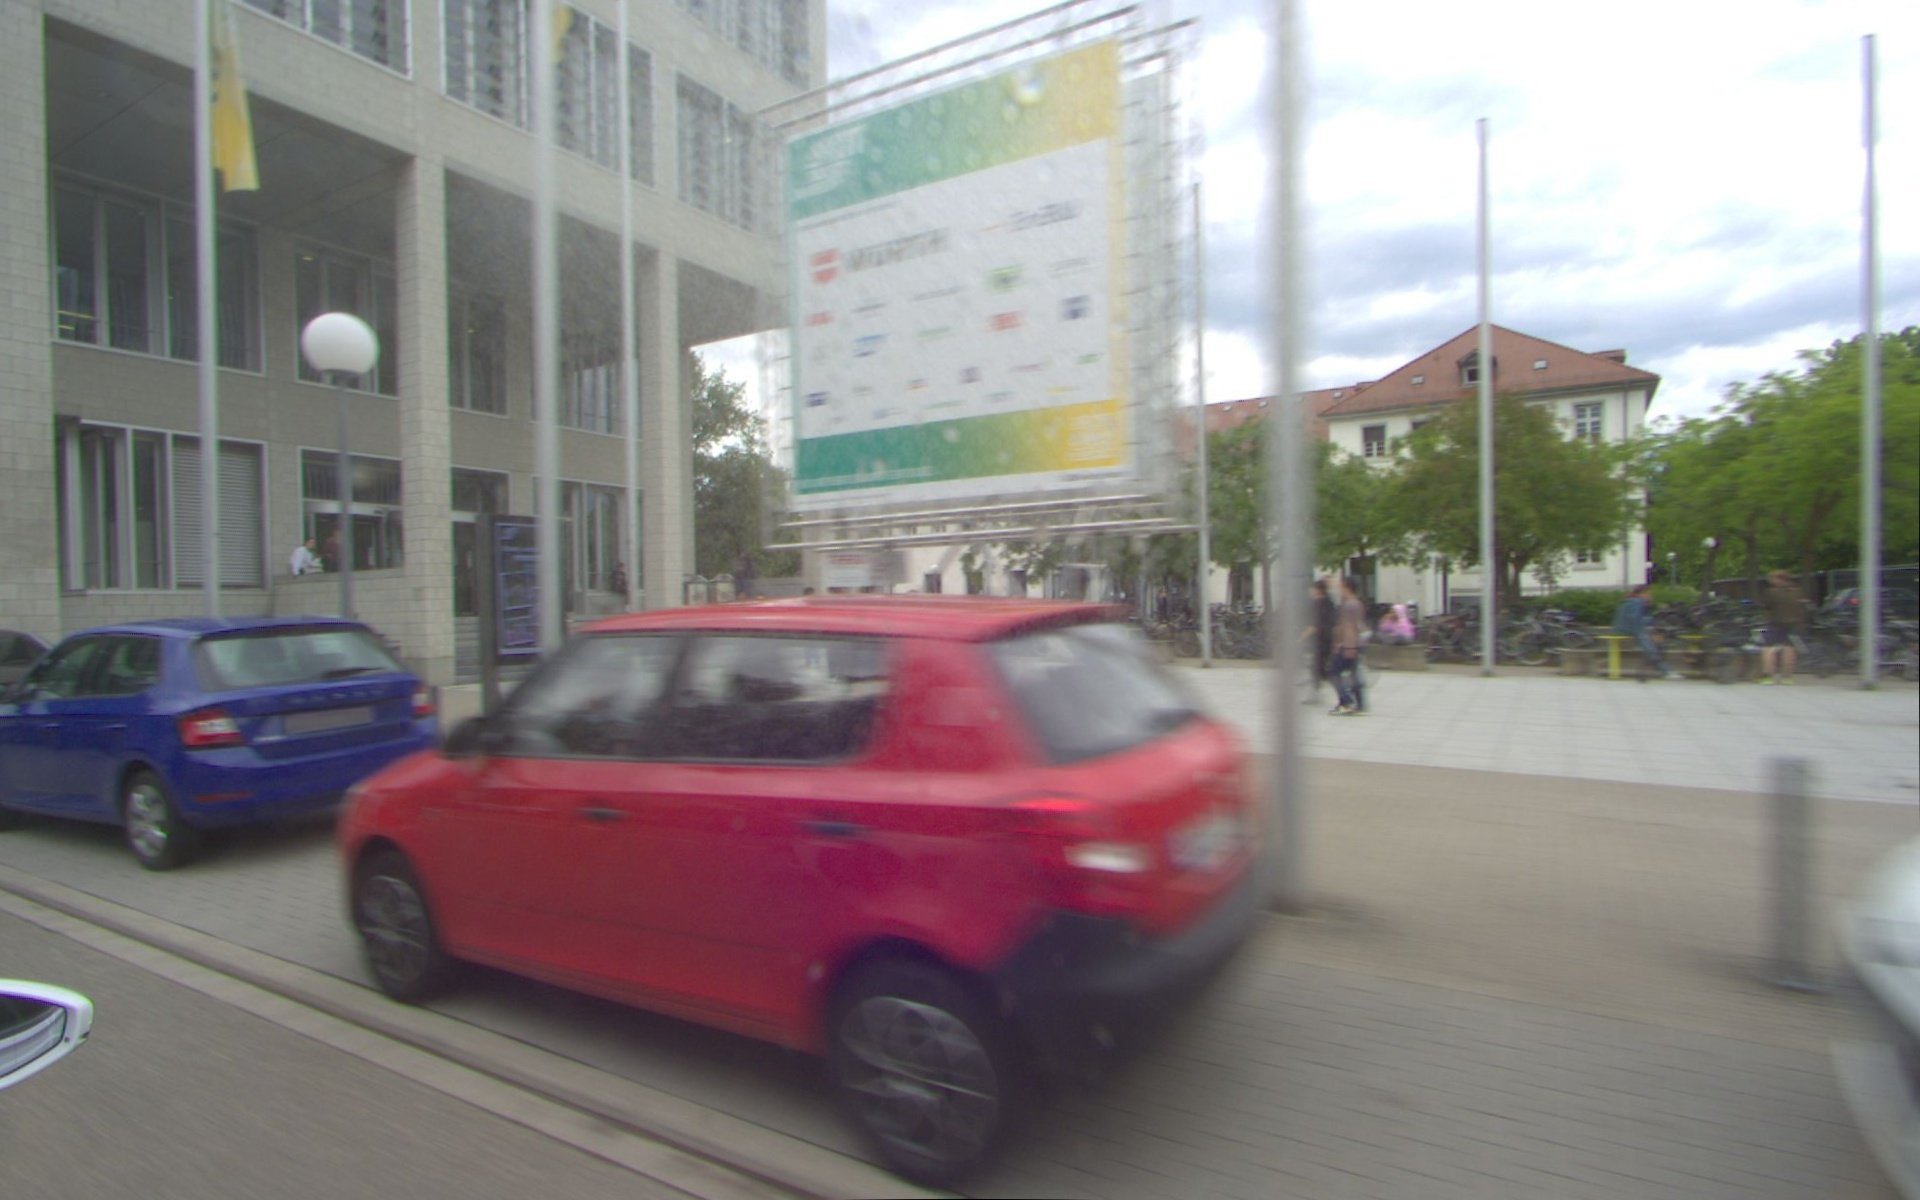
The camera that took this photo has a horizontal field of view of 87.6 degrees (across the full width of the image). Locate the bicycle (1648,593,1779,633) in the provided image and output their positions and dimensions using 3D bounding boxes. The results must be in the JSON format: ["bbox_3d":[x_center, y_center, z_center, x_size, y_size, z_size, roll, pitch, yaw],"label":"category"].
[{"bbox_3d":[24.484,0.431,32.646,3.352,1.185,1.048,-2,-1,37],"label":"bicycle"}]

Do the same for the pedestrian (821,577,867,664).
[{"bbox_3d":[-2.470,0.440,21.363,0.724,1.808,0.720,-1,0,18],"label":"pedestrian"}]

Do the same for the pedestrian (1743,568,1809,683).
[{"bbox_3d":[13.569,0.420,16.658,0.502,1.858,0.672,-1,0,-18],"label":"pedestrian"}]

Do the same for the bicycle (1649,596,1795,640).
[{"bbox_3d":[22.422,0.512,29.564,3.350,1.185,1.048,2,0,37],"label":"bicycle"}]

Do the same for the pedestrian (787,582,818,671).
[{"bbox_3d":[-3.440,0.565,21.893,0.592,1.890,0.778,-2,1,-8],"label":"pedestrian"}]

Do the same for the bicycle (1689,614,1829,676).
[{"bbox_3d":[14.179,0.787,17.811,1.901,1.063,0.456,0,1,17],"label":"bicycle"}]

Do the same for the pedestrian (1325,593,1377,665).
[{"bbox_3d":[7.896,0.580,20.238,0.754,1.432,0.673,-1,0,0],"label":"pedestrian"}]

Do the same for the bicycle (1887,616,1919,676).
[{"bbox_3d":[17.745,0.813,17.712,1.905,1.063,0.455,0,1,27],"label":"bicycle"}]

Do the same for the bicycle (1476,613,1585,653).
[{"bbox_3d":[18.777,1.062,33.018,3.063,1.185,0.744,2,1,34],"label":"bicycle"}]

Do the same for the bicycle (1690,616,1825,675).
[{"bbox_3d":[14.701,0.827,18.498,1.901,1.063,0.456,0,1,18],"label":"bicycle"}]

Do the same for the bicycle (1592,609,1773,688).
[{"bbox_3d":[12.073,0.791,16.827,2.375,1.185,0.455,2,1,27],"label":"bicycle"}]

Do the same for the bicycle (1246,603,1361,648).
[{"bbox_3d":[10.049,0.729,29.384,3.064,1.185,0.744,2,1,34],"label":"bicycle"}]

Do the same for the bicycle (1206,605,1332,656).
[{"bbox_3d":[7.993,0.762,26.054,3.063,1.185,0.618,2,1,34],"label":"bicycle"}]

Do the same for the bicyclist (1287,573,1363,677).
[{"bbox_3d":[6.059,0.400,16.640,0.864,1.663,0.862,-1,1,-34],"label":"bicyclist"}]

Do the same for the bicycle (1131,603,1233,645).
[{"bbox_3d":[6.931,0.735,31.385,3.063,1.185,0.744,2,1,34],"label":"bicycle"}]

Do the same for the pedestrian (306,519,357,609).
[{"bbox_3d":[-12.148,-0.686,19.344,0.796,1.681,0.627,1,1,-34],"label":"pedestrian"}]

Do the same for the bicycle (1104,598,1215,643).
[{"bbox_3d":[5.750,0.582,29.014,3.064,1.185,0.744,2,1,34],"label":"bicycle"}]

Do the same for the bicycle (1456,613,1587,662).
[{"bbox_3d":[15.314,0.991,27.367,3.063,1.185,0.744,2,1,34],"label":"bicycle"}]

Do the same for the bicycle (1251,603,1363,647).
[{"bbox_3d":[10.403,0.740,30.084,3.063,1.185,0.744,2,1,34],"label":"bicycle"}]

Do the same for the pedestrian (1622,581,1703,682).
[{"bbox_3d":[12.383,0.542,17.682,0.951,1.727,0.851,-1,2,16],"label":"pedestrian"}]

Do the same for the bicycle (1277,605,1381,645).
[{"bbox_3d":[12.080,0.796,32.854,3.062,1.185,0.744,2,1,33],"label":"bicycle"}]

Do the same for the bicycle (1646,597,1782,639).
[{"bbox_3d":[23.841,0.559,31.754,3.350,1.185,1.048,2,0,37],"label":"bicycle"}]

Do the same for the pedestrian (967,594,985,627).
[{"bbox_3d":[0.840,0.550,51.932,0.656,1.663,0.659,-1,0,29],"label":"pedestrian"}]

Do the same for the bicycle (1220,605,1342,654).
[{"bbox_3d":[8.714,0.785,27.319,3.063,1.185,0.744,2,1,34],"label":"bicycle"}]

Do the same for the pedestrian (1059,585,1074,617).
[{"bbox_3d":[5.503,0.054,51.709,0.649,1.663,0.666,-1,0,-1],"label":"pedestrian"}]

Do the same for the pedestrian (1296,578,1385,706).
[{"bbox_3d":[5.337,0.568,14.055,0.895,1.736,0.691,0,3,-24],"label":"pedestrian"}]

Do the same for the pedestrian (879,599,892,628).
[{"bbox_3d":[-4.282,0.788,57.551,0.650,1.662,0.666,-1,0,-5],"label":"pedestrian"}]

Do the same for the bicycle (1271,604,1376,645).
[{"bbox_3d":[11.656,0.782,32.204,3.062,1.185,0.744,2,1,33],"label":"bicycle"}]

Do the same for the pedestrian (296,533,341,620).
[{"bbox_3d":[-12.811,-0.454,19.989,0.625,1.681,0.799,1,1,-42],"label":"pedestrian"}]

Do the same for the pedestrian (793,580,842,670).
[{"bbox_3d":[-2.940,0.508,20.659,0.724,1.808,0.763,-1,0,18],"label":"pedestrian"}]

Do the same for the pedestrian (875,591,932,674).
[{"bbox_3d":[-1.178,0.670,20.928,0.921,1.663,0.730,2,1,43],"label":"pedestrian"}]

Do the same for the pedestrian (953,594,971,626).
[{"bbox_3d":[0.112,0.528,52.361,0.684,1.663,0.659,-1,0,29],"label":"pedestrian"}]

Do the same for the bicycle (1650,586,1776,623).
[{"bbox_3d":[25.157,0.177,33.543,3.351,1.185,1.048,-1,0,38],"label":"bicycle"}]

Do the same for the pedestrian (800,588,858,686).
[{"bbox_3d":[-2.343,0.639,17.922,0.695,1.692,0.753,2,2,32],"label":"pedestrian"}]

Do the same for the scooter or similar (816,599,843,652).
[{"bbox_3d":[-3.500,0.671,26.989,0.397,1.388,1.492,2,0,4],"label":"scooter or similar"}]

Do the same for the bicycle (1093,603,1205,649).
[{"bbox_3d":[5.321,0.715,28.355,3.063,1.185,0.744,2,1,34],"label":"bicycle"}]

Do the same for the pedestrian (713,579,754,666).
[{"bbox_3d":[-4.914,0.484,21.731,0.611,1.865,0.589,0,1,33],"label":"pedestrian"}]

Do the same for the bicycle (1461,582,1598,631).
[{"bbox_3d":[14.910,0.152,26.278,3.063,1.185,0.744,2,1,34],"label":"bicycle"}]

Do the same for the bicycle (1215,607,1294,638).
[{"bbox_3d":[12.291,0.914,41.847,3.063,1.185,0.744,2,1,34],"label":"bicycle"}]

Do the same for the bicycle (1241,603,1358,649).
[{"bbox_3d":[9.690,0.717,28.706,3.063,1.185,0.744,2,1,34],"label":"bicycle"}]

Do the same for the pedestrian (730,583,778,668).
[{"bbox_3d":[-4.309,0.522,20.964,0.595,1.738,0.775,-1,0,32],"label":"pedestrian"}]

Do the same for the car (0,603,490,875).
[{"bbox_3d":[-5.533,0.796,7.152,4.309,1.430,1.693,-1,1,28],"label":"car"}]

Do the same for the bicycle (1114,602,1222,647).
[{"bbox_3d":[6.146,0.708,29.688,3.063,1.185,0.744,2,1,34],"label":"bicycle"}]

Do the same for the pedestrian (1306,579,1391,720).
[{"bbox_3d":[4.936,0.607,12.744,0.769,1.735,0.645,0,1,-23],"label":"pedestrian"}]

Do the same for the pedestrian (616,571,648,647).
[{"bbox_3d":[-8.921,0.257,27.278,0.531,2.040,0.595,0,1,31],"label":"pedestrian"}]

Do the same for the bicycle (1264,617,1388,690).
[{"bbox_3d":[6.062,0.855,16.655,0.864,1.108,1.789,0,0,-33],"label":"bicycle"}]

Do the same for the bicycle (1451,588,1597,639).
[{"bbox_3d":[13.720,0.343,24.417,3.065,1.185,0.743,-1,0,34],"label":"bicycle"}]

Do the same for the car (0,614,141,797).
[{"bbox_3d":[-9.944,0.914,9.720,4.355,1.461,1.844,1,1,33],"label":"car"}]

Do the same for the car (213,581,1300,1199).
[{"bbox_3d":[-1.002,0.732,4.013,4.211,1.493,1.708,-1,2,32],"label":"car"}]

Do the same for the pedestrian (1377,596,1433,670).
[{"bbox_3d":[8.872,0.652,19.993,0.952,1.439,0.850,-1,0,20],"label":"pedestrian"}]

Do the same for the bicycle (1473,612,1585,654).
[{"bbox_3d":[18.156,1.041,32.003,3.063,1.185,0.744,2,1,34],"label":"bicycle"}]

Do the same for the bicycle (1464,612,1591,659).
[{"bbox_3d":[16.004,0.970,28.305,3.063,1.185,0.744,2,1,34],"label":"bicycle"}]

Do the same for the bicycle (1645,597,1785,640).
[{"bbox_3d":[23.087,0.534,30.729,3.350,1.185,1.048,2,0,37],"label":"bicycle"}]

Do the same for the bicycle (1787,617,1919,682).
[{"bbox_3d":[15.261,0.820,16.939,1.905,1.063,0.455,0,1,27],"label":"bicycle"}]

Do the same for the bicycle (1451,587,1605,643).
[{"bbox_3d":[13.213,0.337,23.367,3.063,1.185,0.744,2,1,34],"label":"bicycle"}]

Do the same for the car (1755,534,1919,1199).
[{"bbox_3d":[3.687,0.591,1.402,3.803,1.472,1.857,-1,0,32],"label":"car"}]
